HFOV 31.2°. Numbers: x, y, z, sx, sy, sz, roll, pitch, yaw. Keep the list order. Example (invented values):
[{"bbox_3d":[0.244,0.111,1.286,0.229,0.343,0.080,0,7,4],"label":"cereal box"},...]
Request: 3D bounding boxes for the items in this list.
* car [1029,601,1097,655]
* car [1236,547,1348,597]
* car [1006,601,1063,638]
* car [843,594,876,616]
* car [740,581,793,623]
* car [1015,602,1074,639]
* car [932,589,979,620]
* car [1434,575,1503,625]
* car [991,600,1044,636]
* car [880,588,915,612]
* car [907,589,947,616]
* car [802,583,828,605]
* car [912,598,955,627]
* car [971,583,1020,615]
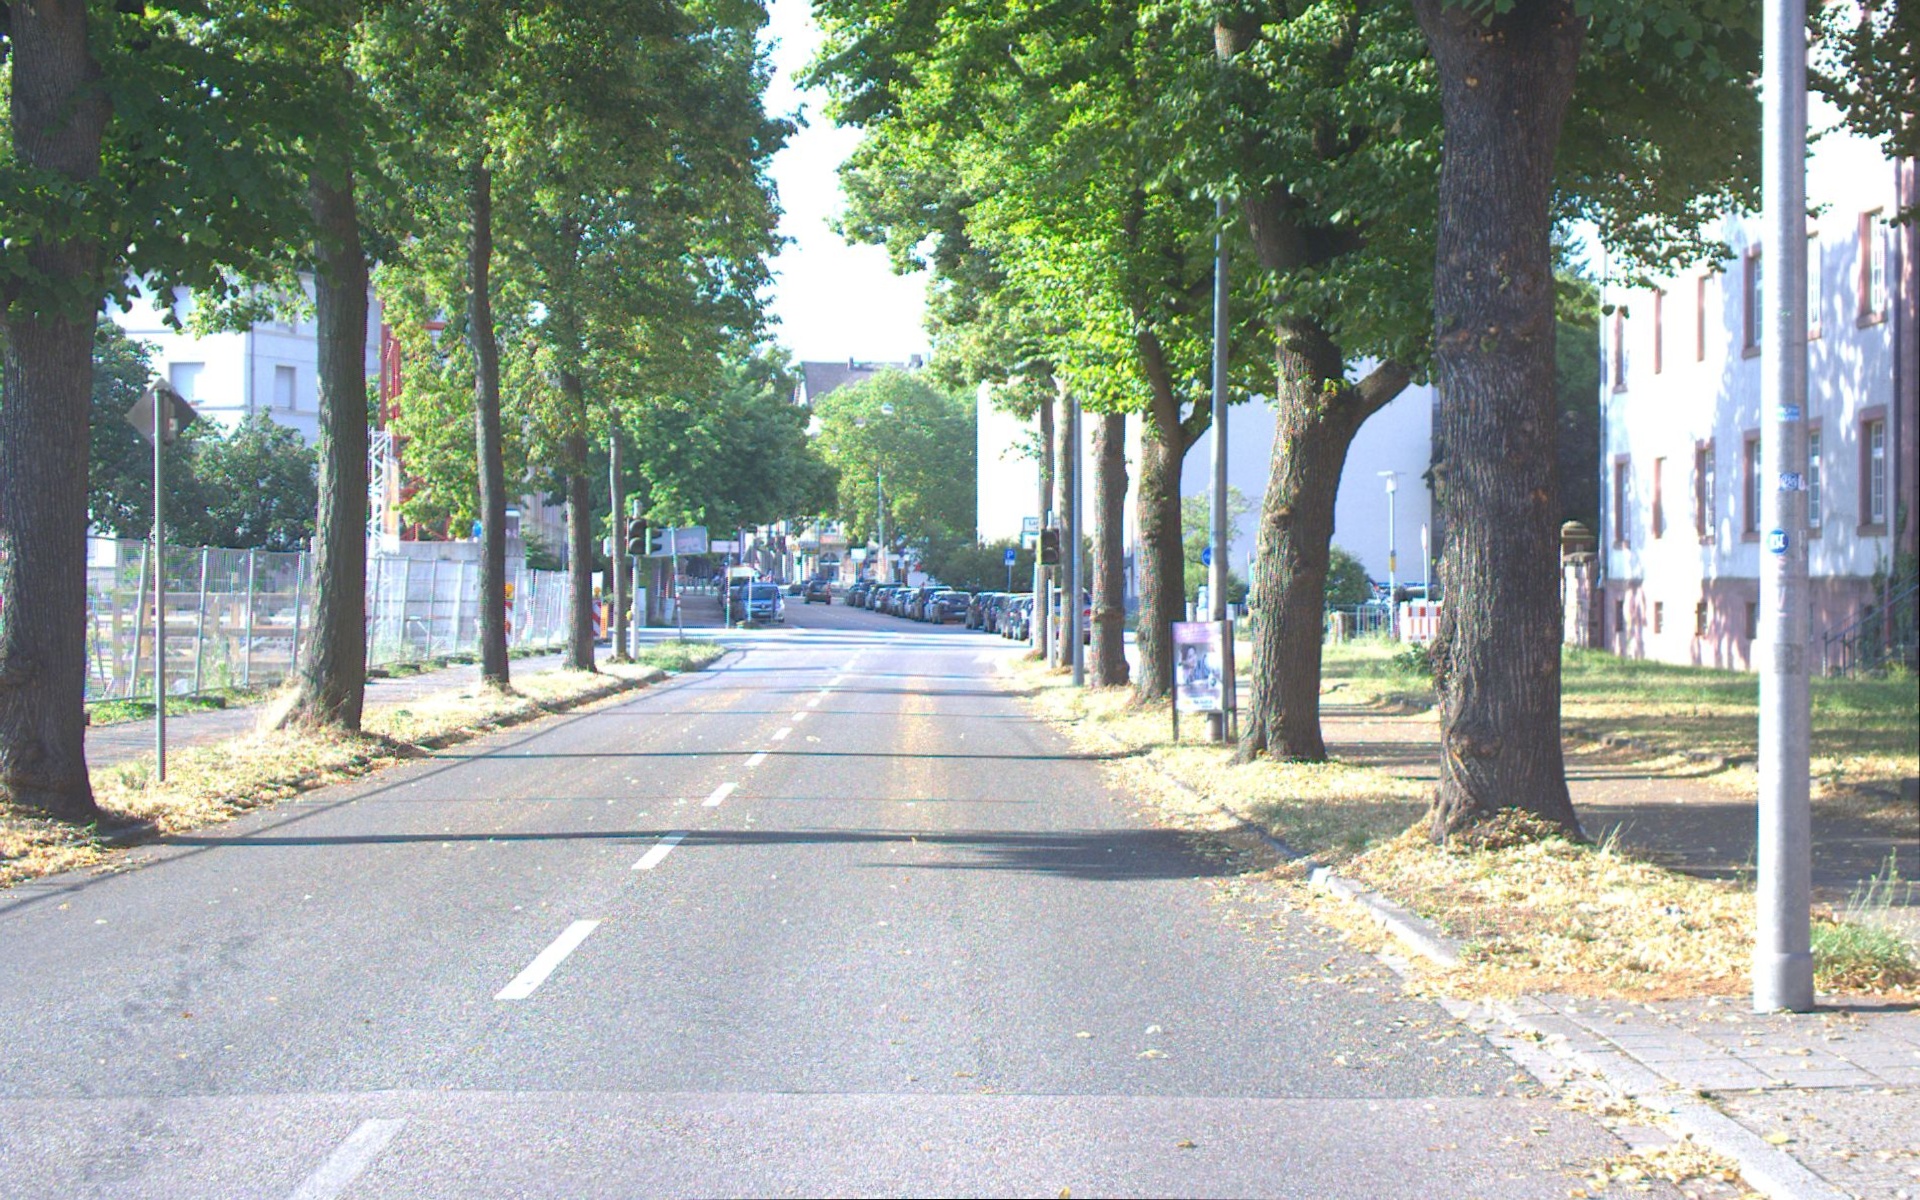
[{"bbox_3d":[3.094,0.837,103.871,1.841,1.568,4.000,0,0,-1],"label":"car"},{"bbox_3d":[12.385,-1.048,128.377,3.987,1.722,1.773,2,0,1],"label":"car"},{"bbox_3d":[2.595,0.687,120.612,1.841,1.257,4.000,0,0,-1],"label":"car"},{"bbox_3d":[-6.715,0.360,228.963,1.841,1.381,4.001,-2,0,-6],"label":"car"},{"bbox_3d":[-8.062,0.090,143.040,1.993,1.682,4.001,0,-1,-6],"label":"car"},{"bbox_3d":[2.807,0.680,114.922,1.779,1.223,4.000,0,0,-1],"label":"car"},{"bbox_3d":[-0.221,0.184,155.887,1.841,1.381,4.001,0,0,-4],"label":"car"},{"bbox_3d":[17.074,0.017,115.496,1.812,1.554,3.625,2,-1,2],"label":"car"},{"bbox_3d":[2.180,0.685,131.106,1.841,1.257,4.000,-2,0,-1],"label":"car"},{"bbox_3d":[-3.652,0.014,199.593,1.841,1.381,4.000,0,0,-4],"label":"car"},{"bbox_3d":[-1.752,0.134,179.178,1.841,1.381,4.000,0,0,-4],"label":"car"},{"bbox_3d":[-10.091,-0.392,239.205,1.714,1.481,4.000,-1,0,-4],"label":"car"},{"bbox_3d":[-1.323,0.615,167.071,1.841,1.381,4.000,0,0,-4],"label":"car"},{"bbox_3d":[1.423,-0.021,137.903,1.841,1.257,4.000,0,0,-1],"label":"car"}]
